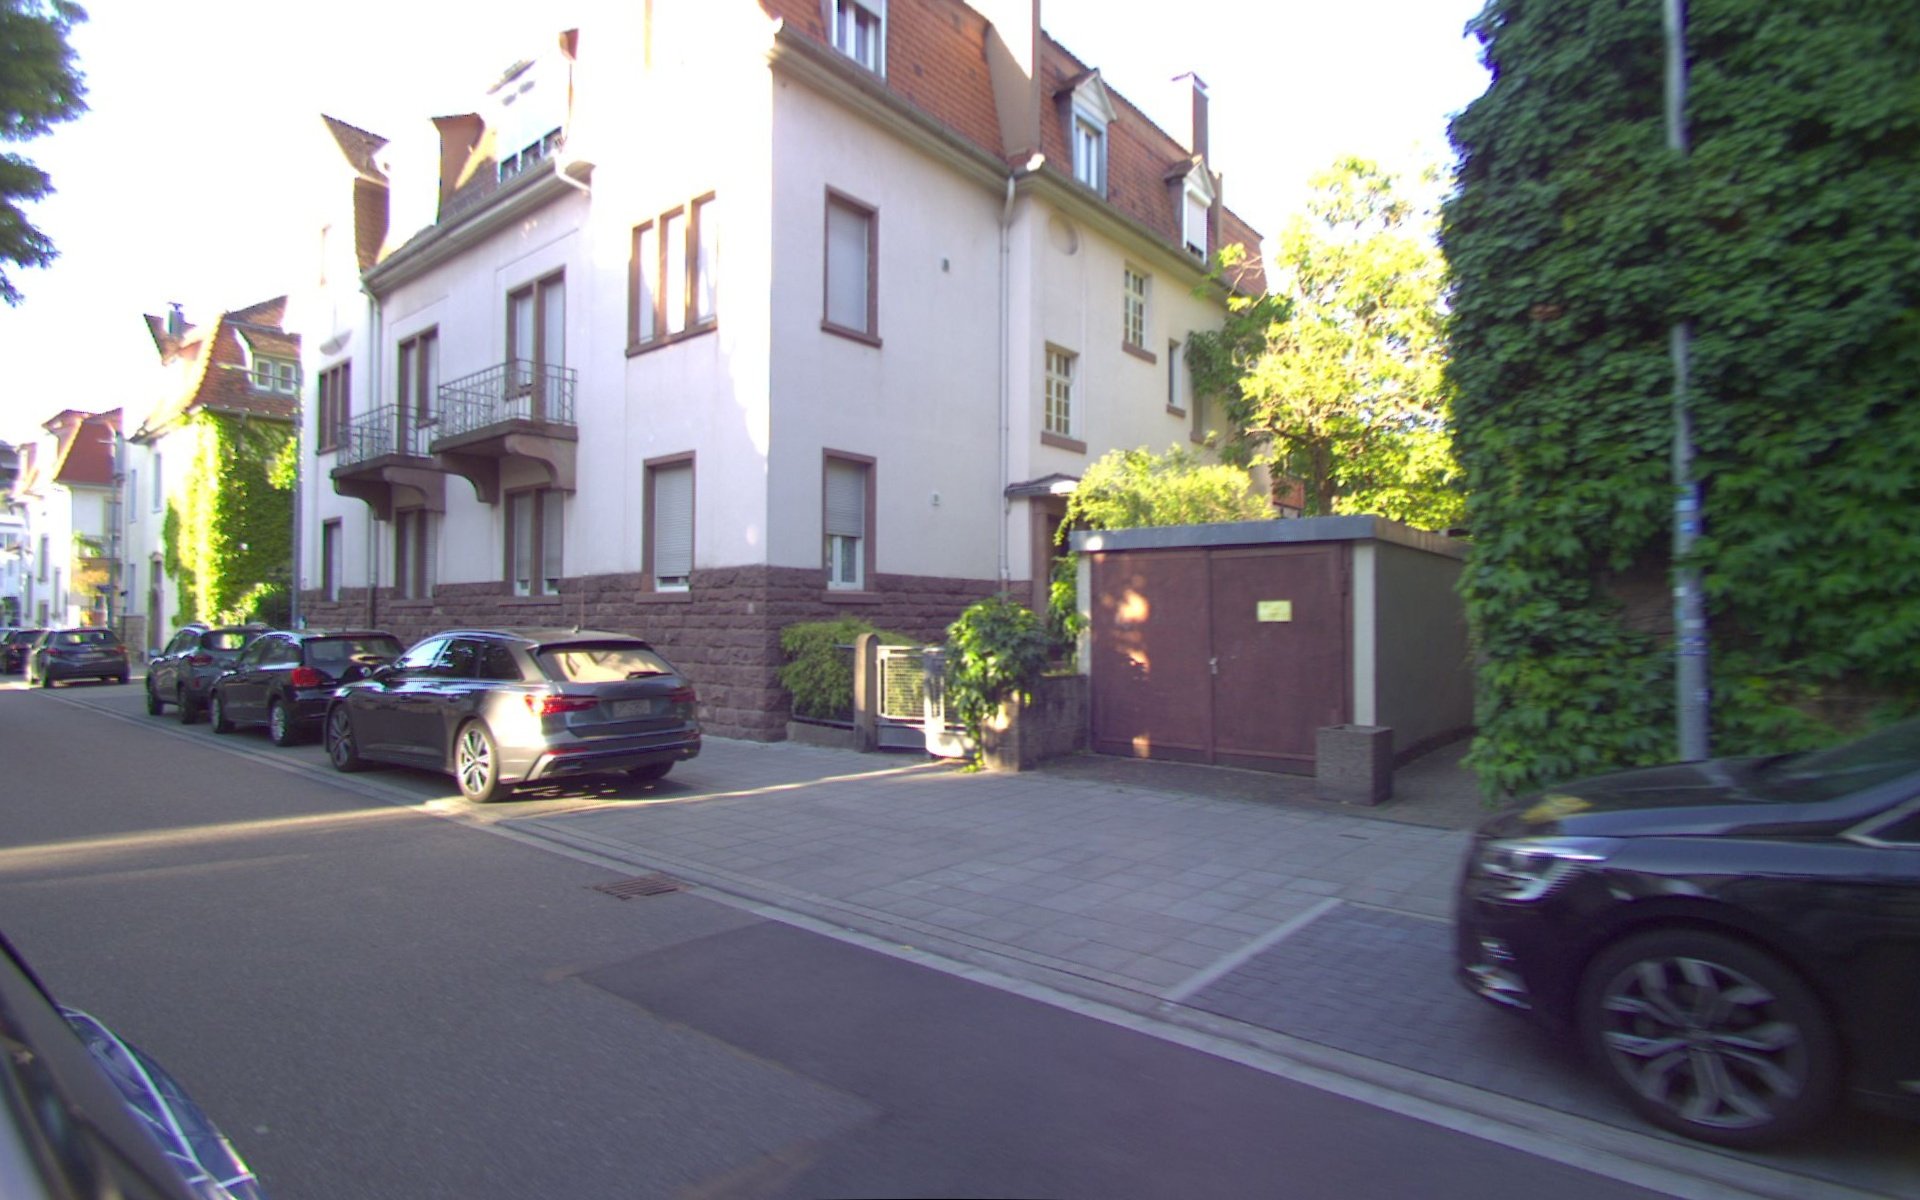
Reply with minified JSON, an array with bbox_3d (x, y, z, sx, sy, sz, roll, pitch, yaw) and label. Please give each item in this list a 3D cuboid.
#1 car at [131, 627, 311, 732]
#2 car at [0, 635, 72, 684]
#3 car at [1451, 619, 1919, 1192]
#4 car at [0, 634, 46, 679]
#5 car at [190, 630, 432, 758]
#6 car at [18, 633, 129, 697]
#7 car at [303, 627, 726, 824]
[{"bbox_3d":[-12.266,1.219,16.715,3.763,1.497,1.636,-2,-1,41],"label":"car"},{"bbox_3d":[-30.066,1.854,32.585,4.165,1.426,1.636,-2,-1,41],"label":"car"},{"bbox_3d":[3.690,0.772,2.573,4.097,1.431,1.632,-2,-1,41],"label":"car"},{"bbox_3d":[-34.158,1.975,36.071,4.629,1.481,1.692,-2,-1,40],"label":"car"},{"bbox_3d":[-8.874,1.158,13.728,3.840,1.458,1.637,-2,-1,39],"label":"car"},{"bbox_3d":[-22.714,1.594,25.886,4.003,1.458,1.636,-2,-1,41],"label":"car"},{"bbox_3d":[-4.493,1.015,9.834,4.772,1.472,1.775,-2,-2,39],"label":"car"}]
